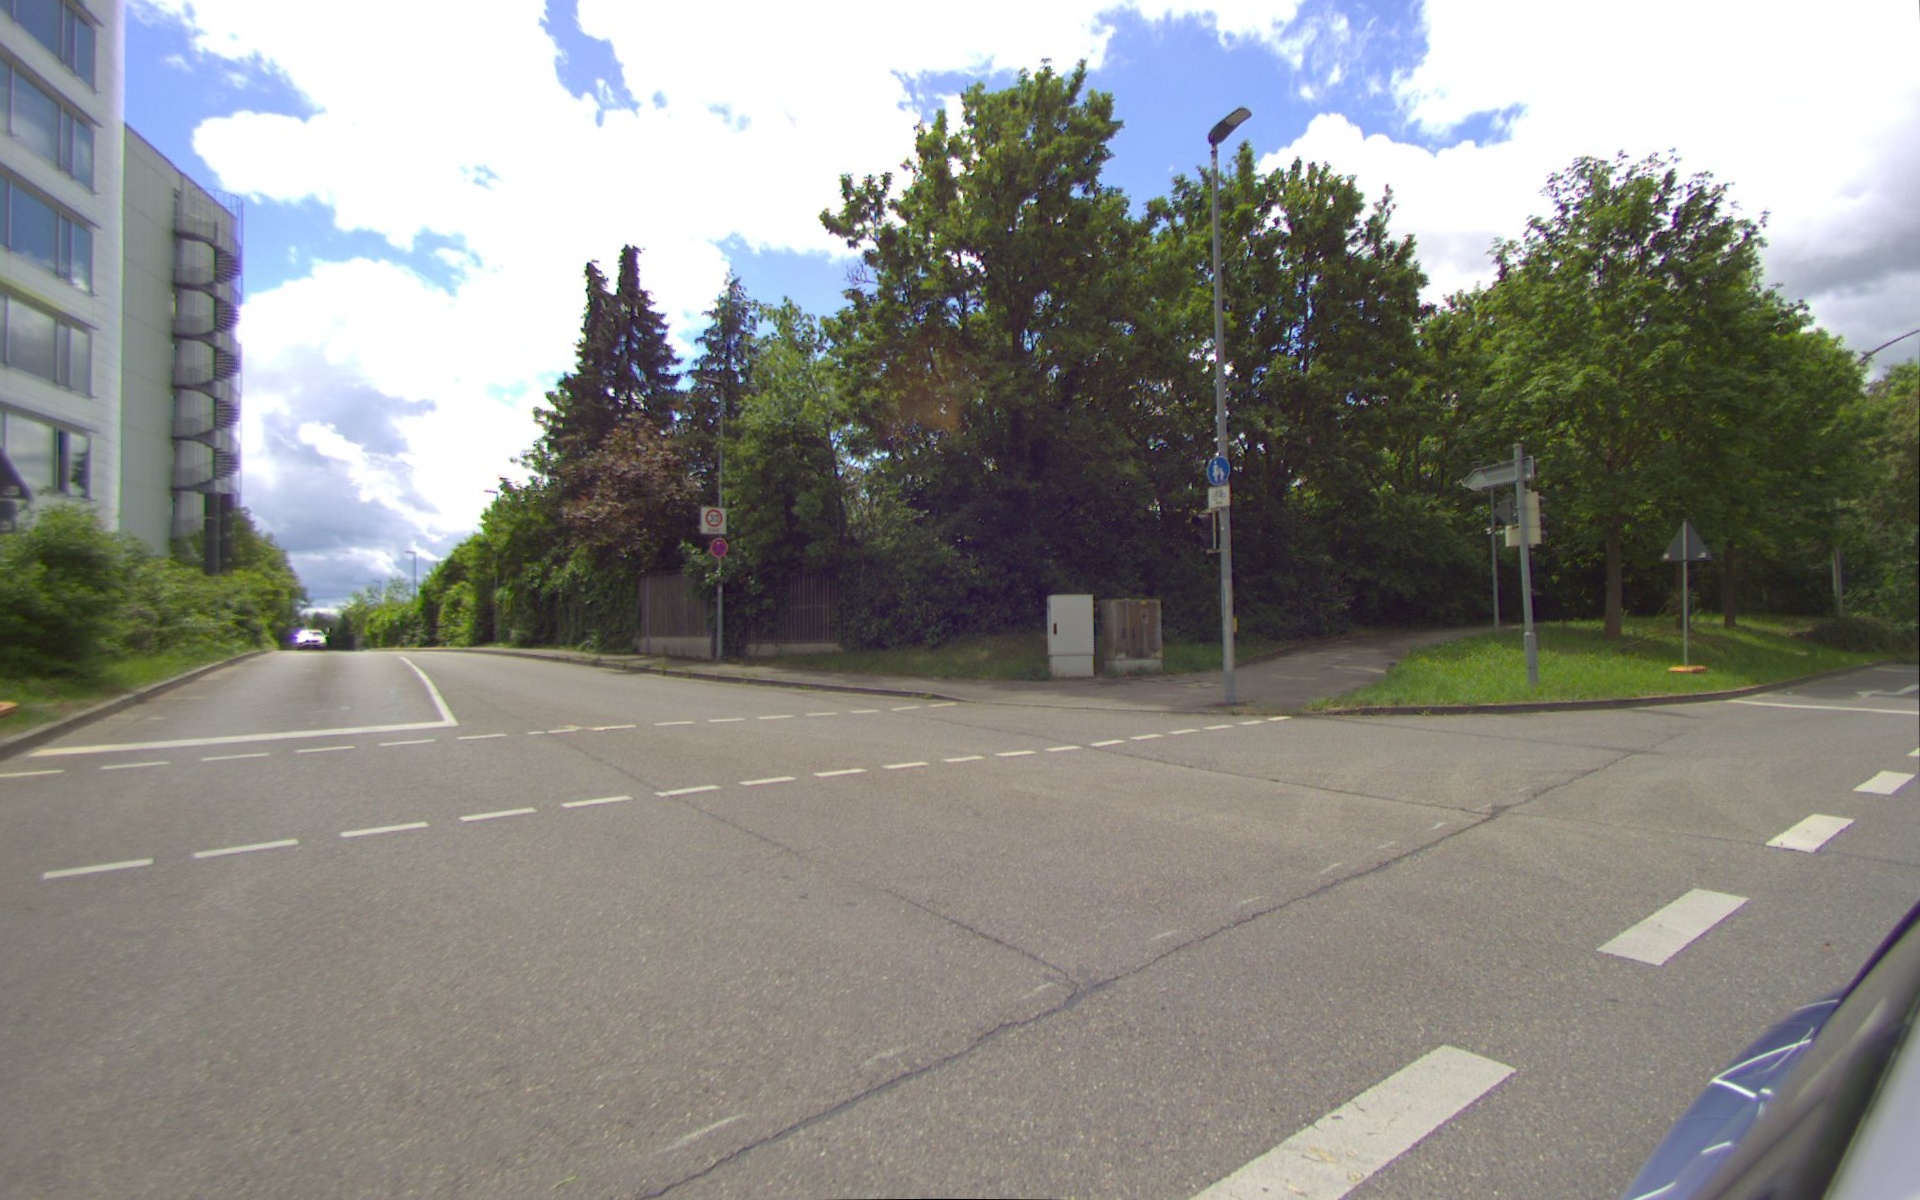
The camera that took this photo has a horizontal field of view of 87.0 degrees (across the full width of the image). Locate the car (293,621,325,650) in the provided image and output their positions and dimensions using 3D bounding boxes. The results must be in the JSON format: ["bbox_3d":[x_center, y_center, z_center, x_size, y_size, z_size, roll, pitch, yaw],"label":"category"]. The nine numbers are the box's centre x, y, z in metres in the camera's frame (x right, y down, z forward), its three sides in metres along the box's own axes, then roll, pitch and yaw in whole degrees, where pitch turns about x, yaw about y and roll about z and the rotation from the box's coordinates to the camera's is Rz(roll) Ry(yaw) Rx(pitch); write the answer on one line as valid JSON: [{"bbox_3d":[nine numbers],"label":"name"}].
[{"bbox_3d":[-49.105,2.658,76.409,1.961,2.039,4.001,0,-1,-32],"label":"car"}]
